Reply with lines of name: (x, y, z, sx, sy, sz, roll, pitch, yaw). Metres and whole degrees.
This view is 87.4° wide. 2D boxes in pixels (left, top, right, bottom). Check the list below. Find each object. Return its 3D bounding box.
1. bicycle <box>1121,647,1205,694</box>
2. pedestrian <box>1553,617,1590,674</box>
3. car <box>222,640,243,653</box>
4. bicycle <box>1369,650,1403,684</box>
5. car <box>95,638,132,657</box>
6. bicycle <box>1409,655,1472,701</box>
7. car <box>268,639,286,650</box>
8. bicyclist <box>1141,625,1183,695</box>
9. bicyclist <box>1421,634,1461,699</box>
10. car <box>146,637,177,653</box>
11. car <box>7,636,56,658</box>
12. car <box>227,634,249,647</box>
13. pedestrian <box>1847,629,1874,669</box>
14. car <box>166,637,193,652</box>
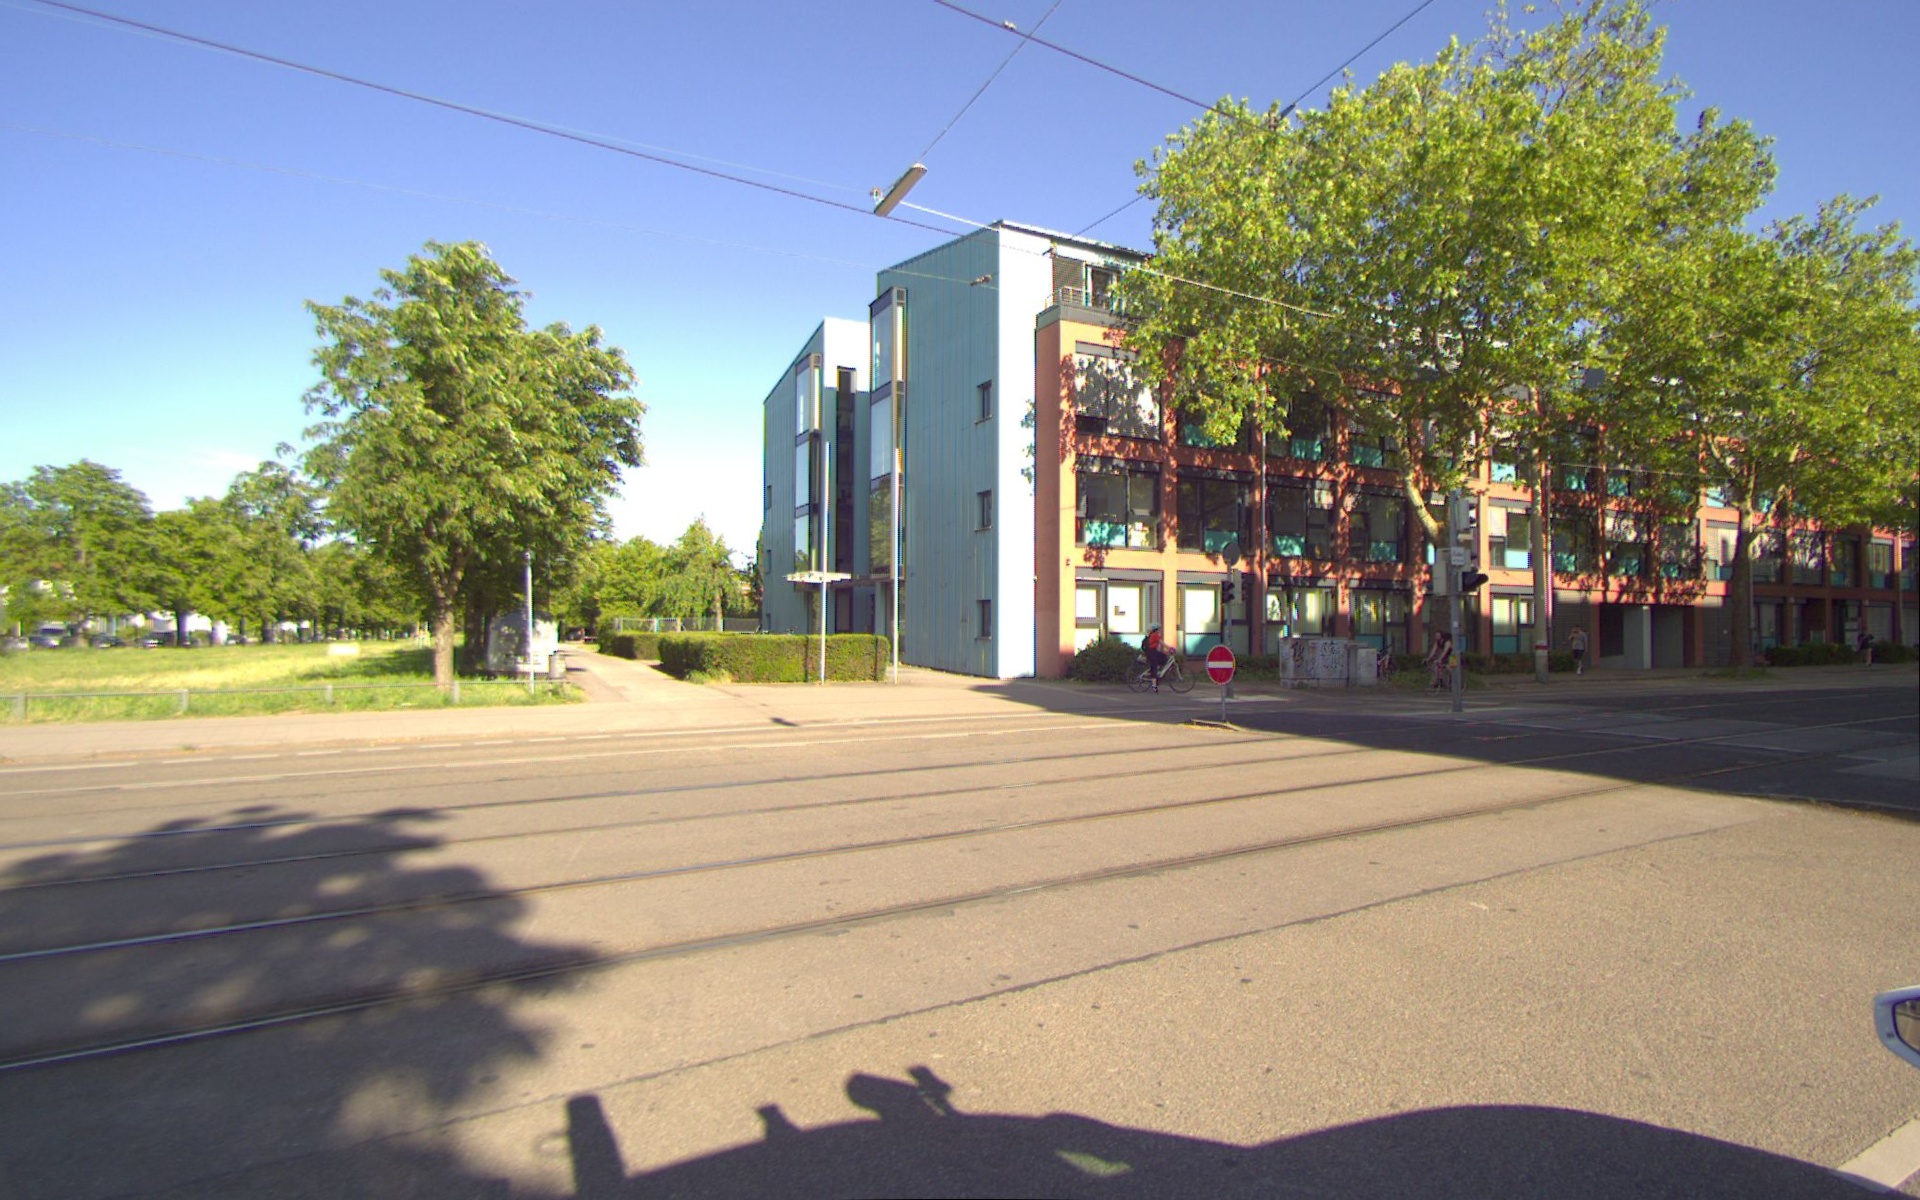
bicycle: (5.113, 1.771, 25.380, 1.996, 1.144, 0.633, 0, 0, -2)
pedestrian: (22.237, 1.635, 36.527, 0.773, 2.040, 0.904, 0, 0, -35)
car: (-104.704, 6.710, 144.604, 1.643, 1.765, 3.665, 0, -2, -24)
bicycle: (12.302, 1.921, 29.001, 0.514, 0.918, 1.537, -1, -2, 39)
car: (-84.797, 4.753, 100.617, 1.791, 1.765, 3.864, 0, -2, -24)
bicycle: (12.450, 2.003, 26.016, 1.906, 1.056, 0.640, 0, 0, -36)
car: (-115.305, 7.500, 169.656, 1.791, 1.765, 3.864, 0, -2, -24)
bicyclist: (5.088, 1.502, 25.380, 0.914, 1.715, 0.606, 0, 0, -2)
bicyclist: (12.454, 1.704, 26.019, 0.773, 1.633, 0.640, 0, 0, -36)
car: (-90.952, 5.072, 114.483, 1.791, 1.765, 3.864, 0, -2, -24)
car: (-77.622, 3.894, 84.012, 1.791, 1.765, 3.864, 0, -2, -24)
car: (-104.139, 5.835, 144.973, 1.791, 1.765, 3.864, 0, -2, -24)
pedestrian: (41.069, 2.226, 45.806, 0.889, 1.741, 0.623, 0, 0, -28)
car: (-96.580, 5.493, 124.359, 1.791, 1.765, 3.864, 0, -2, -24)
